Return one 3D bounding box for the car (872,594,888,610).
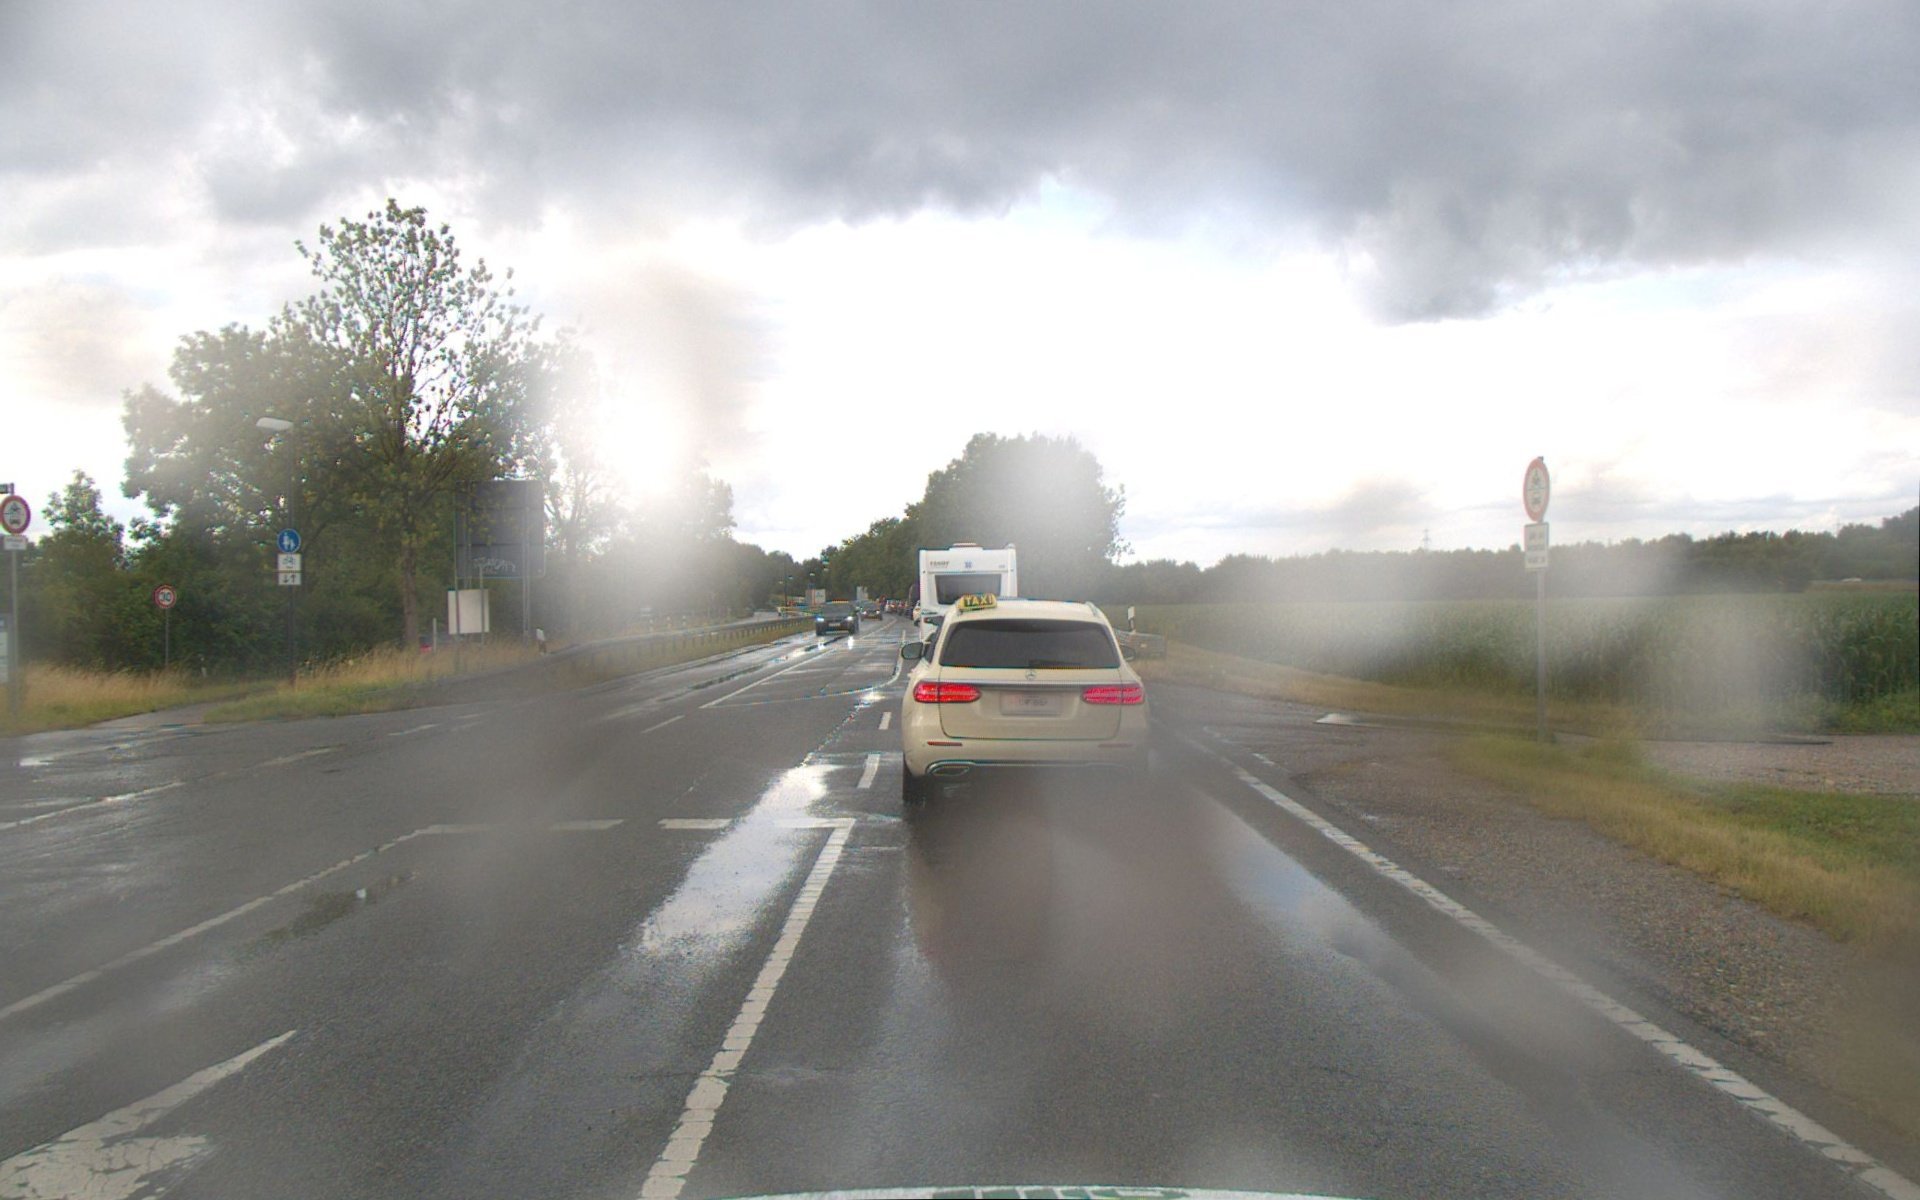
[{"bbox_3d":[-10.106,0.298,208.980,1.858,1.928,3.840,-1,0,-4],"label":"car"}]

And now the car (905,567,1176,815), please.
[{"bbox_3d":[0.514,0.619,13.069,1.805,1.646,3.999,0,0,-1],"label":"car"}]

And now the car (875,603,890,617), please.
[{"bbox_3d":[-9.394,1.164,200.092,1.714,1.691,3.669,0,0,-5],"label":"car"}]

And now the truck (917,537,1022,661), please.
[{"bbox_3d":[0.163,-0.024,41.080,2.315,2.776,7.313,-1,0,-1],"label":"truck"}]

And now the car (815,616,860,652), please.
[{"bbox_3d":[-5.730,1.593,77.585,1.791,1.601,3.999,1,0,0],"label":"car"}]

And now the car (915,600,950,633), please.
[{"bbox_3d":[-1.610,0.956,96.420,1.876,1.873,3.796,-1,0,1],"label":"car"}]

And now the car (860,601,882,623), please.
[{"bbox_3d":[-7.039,0.967,130.877,1.548,1.668,3.441,-1,0,-1],"label":"car"}]

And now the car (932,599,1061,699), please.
[{"bbox_3d":[0.541,0.767,27.735,1.953,1.488,3.999,2,0,-1],"label":"car"}]

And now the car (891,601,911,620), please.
[{"bbox_3d":[-5.719,1.017,160.253,1.841,1.792,3.833,-1,0,-1],"label":"car"}]

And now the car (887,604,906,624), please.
[{"bbox_3d":[-6.462,1.411,169.007,1.814,2.049,3.810,-1,0,-1],"label":"car"}]

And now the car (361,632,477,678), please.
[{"bbox_3d":[-20.587,2.073,63.185,2.253,1.574,4.636,1,0,10],"label":"car"}]

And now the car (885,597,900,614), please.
[{"bbox_3d":[-7.784,0.585,191.072,1.705,1.892,3.784,-1,0,-1],"label":"car"}]
